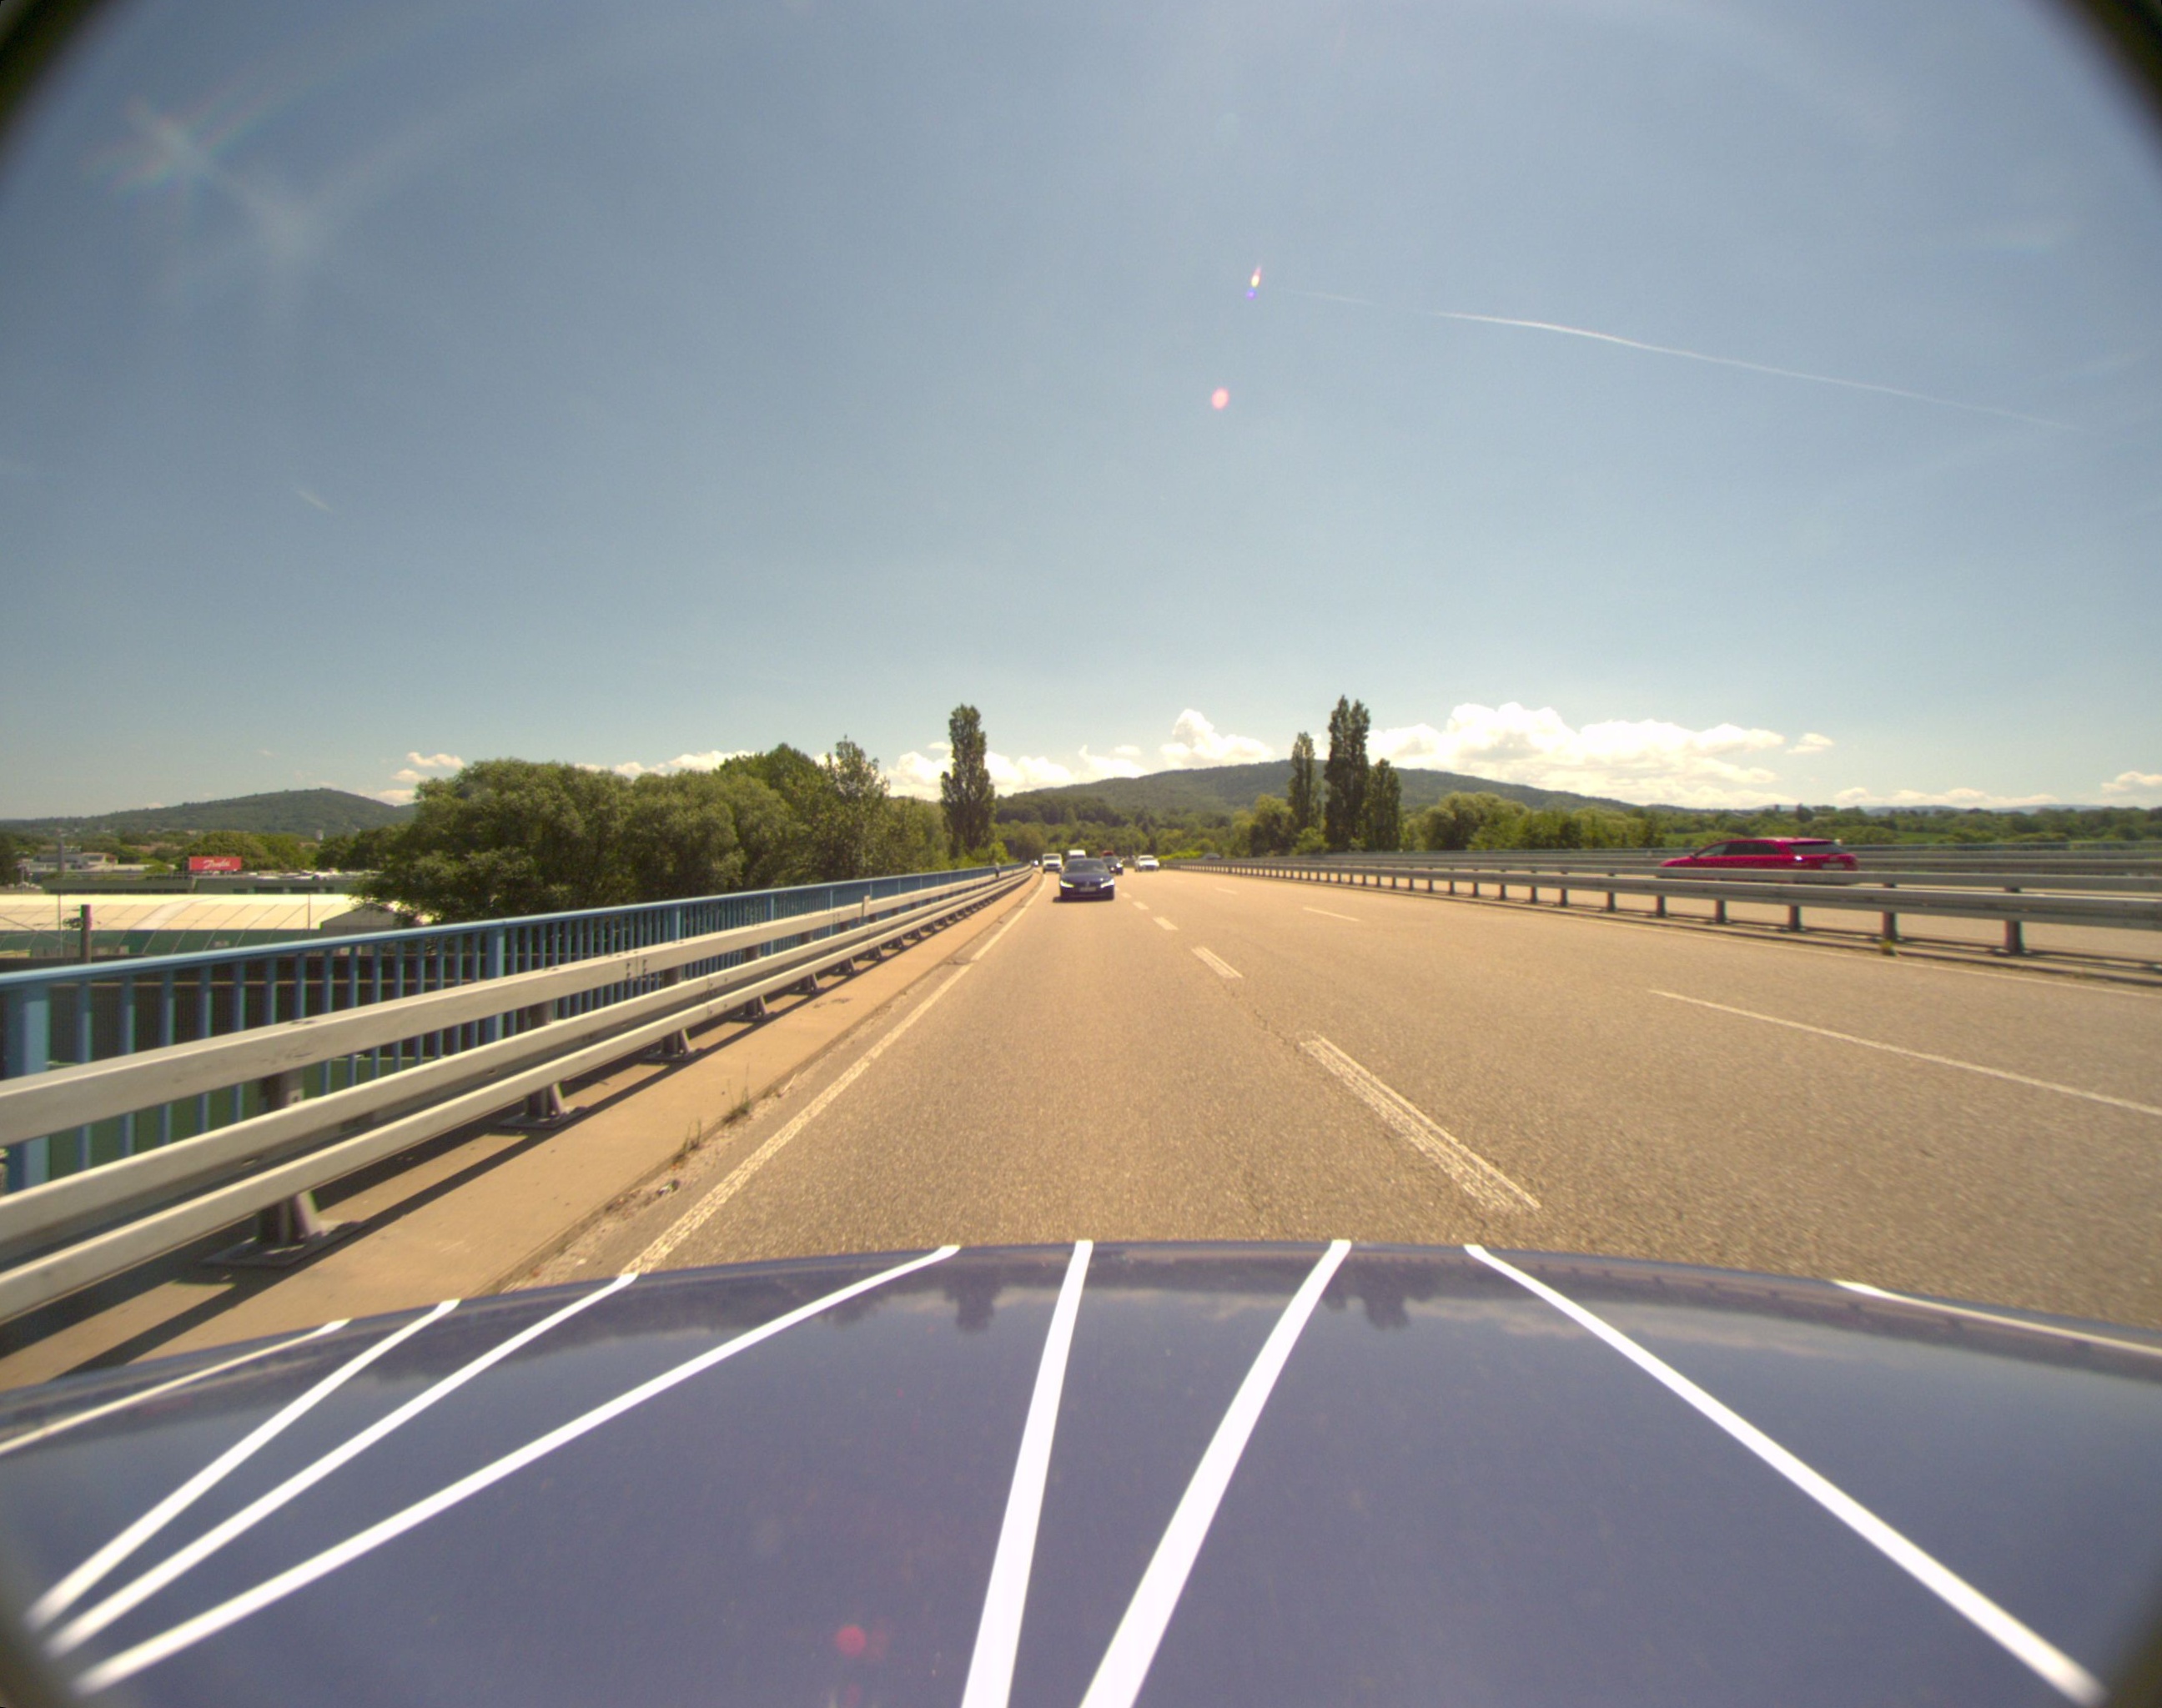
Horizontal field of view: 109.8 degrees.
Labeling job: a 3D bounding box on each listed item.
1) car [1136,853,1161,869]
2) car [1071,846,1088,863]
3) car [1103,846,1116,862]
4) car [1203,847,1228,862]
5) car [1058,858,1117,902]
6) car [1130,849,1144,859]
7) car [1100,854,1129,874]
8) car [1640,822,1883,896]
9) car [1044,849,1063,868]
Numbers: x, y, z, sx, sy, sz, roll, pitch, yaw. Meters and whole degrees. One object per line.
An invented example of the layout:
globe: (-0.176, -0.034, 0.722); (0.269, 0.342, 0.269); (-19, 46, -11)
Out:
car: (6.157, 0.613, 69.990); (1.846, 1.400, 4.469); (-2, 1, 0)
car: (-0.198, 0.019, 92.429); (2.008, 1.988, 4.578); (-2, 1, -1)
car: (6.199, -0.062, 163.913); (2.311, 3.272, 7.027); (-1, 0, -2)
car: (15.715, 0.003, 89.114); (1.848, 1.658, 5.049); (-1, 1, -2)
car: (0.151, 0.849, 26.904); (1.846, 1.399, 4.468); (-1, 0, -3)
car: (10.443, -0.042, 142.914); (1.858, 1.808, 4.792); (-1, 1, -5)
car: (2.555, 0.733, 59.083); (1.846, 1.399, 4.469); (-2, 0, -2)
car: (17.427, 0.076, 19.905); (1.848, 1.658, 5.050); (-1, 1, 0)
car: (-2.801, 0.440, 76.728); (1.885, 1.724, 4.468); (-2, 1, -3)
